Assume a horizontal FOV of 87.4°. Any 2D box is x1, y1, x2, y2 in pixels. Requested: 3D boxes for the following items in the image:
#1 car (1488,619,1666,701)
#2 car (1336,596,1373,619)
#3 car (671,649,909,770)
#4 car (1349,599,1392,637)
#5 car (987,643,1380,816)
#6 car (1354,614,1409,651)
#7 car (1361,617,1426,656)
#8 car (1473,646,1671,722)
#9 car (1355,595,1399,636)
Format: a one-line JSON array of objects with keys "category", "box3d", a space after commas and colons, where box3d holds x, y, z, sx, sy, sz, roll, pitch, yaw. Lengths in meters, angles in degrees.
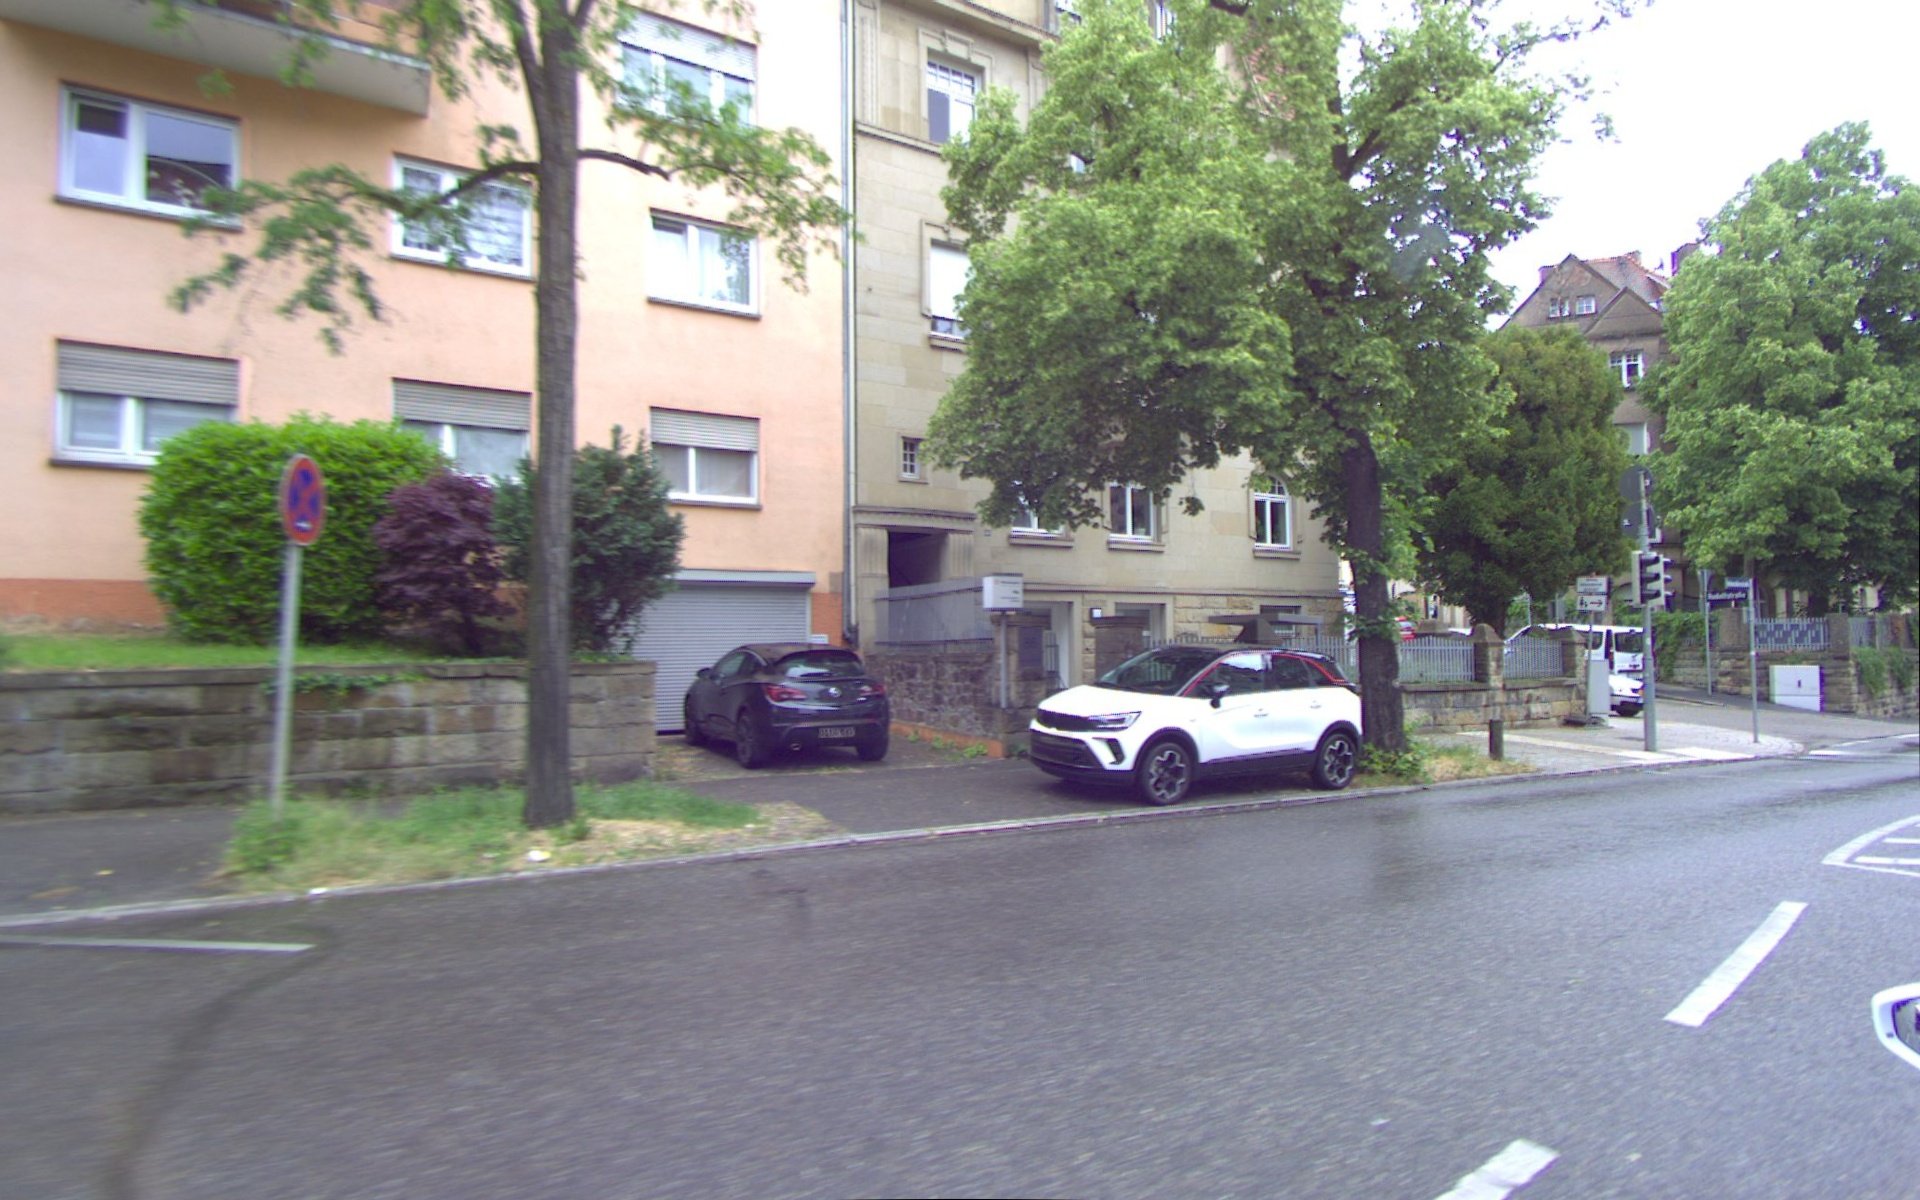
[{"category": "car", "box3d": [19.618, 1.839, 32.212, 1.992, 2.076, 4.661, 2, 3, -15]}, {"category": "car", "box3d": [28.524, 0.519, 72.785, 2.072, 1.427, 4.444, 5, 1, 18]}, {"category": "car", "box3d": [-2.427, 1.348, 13.518, 1.816, 1.344, 3.967, 3, -3, -31]}, {"category": "car", "box3d": [24.677, 1.071, 60.521, 1.884, 2.038, 4.444, 5, 0, 18]}, {"category": "car", "box3d": [2.587, 1.389, 11.334, 4.253, 1.579, 1.733, 4, -2, -30]}, {"category": "car", "box3d": [21.423, 1.625, 51.239, 2.072, 1.649, 4.444, 5, 0, 17]}, {"category": "car", "box3d": [19.831, 1.638, 46.126, 1.993, 1.555, 4.445, 5, 0, 15]}, {"category": "car", "box3d": [15.217, 2.052, 25.199, 1.802, 1.427, 3.851, 6, -1, -25]}, {"category": "car", "box3d": [23.361, 0.834, 56.393, 1.760, 2.068, 3.938, 6, 1, 18]}]
